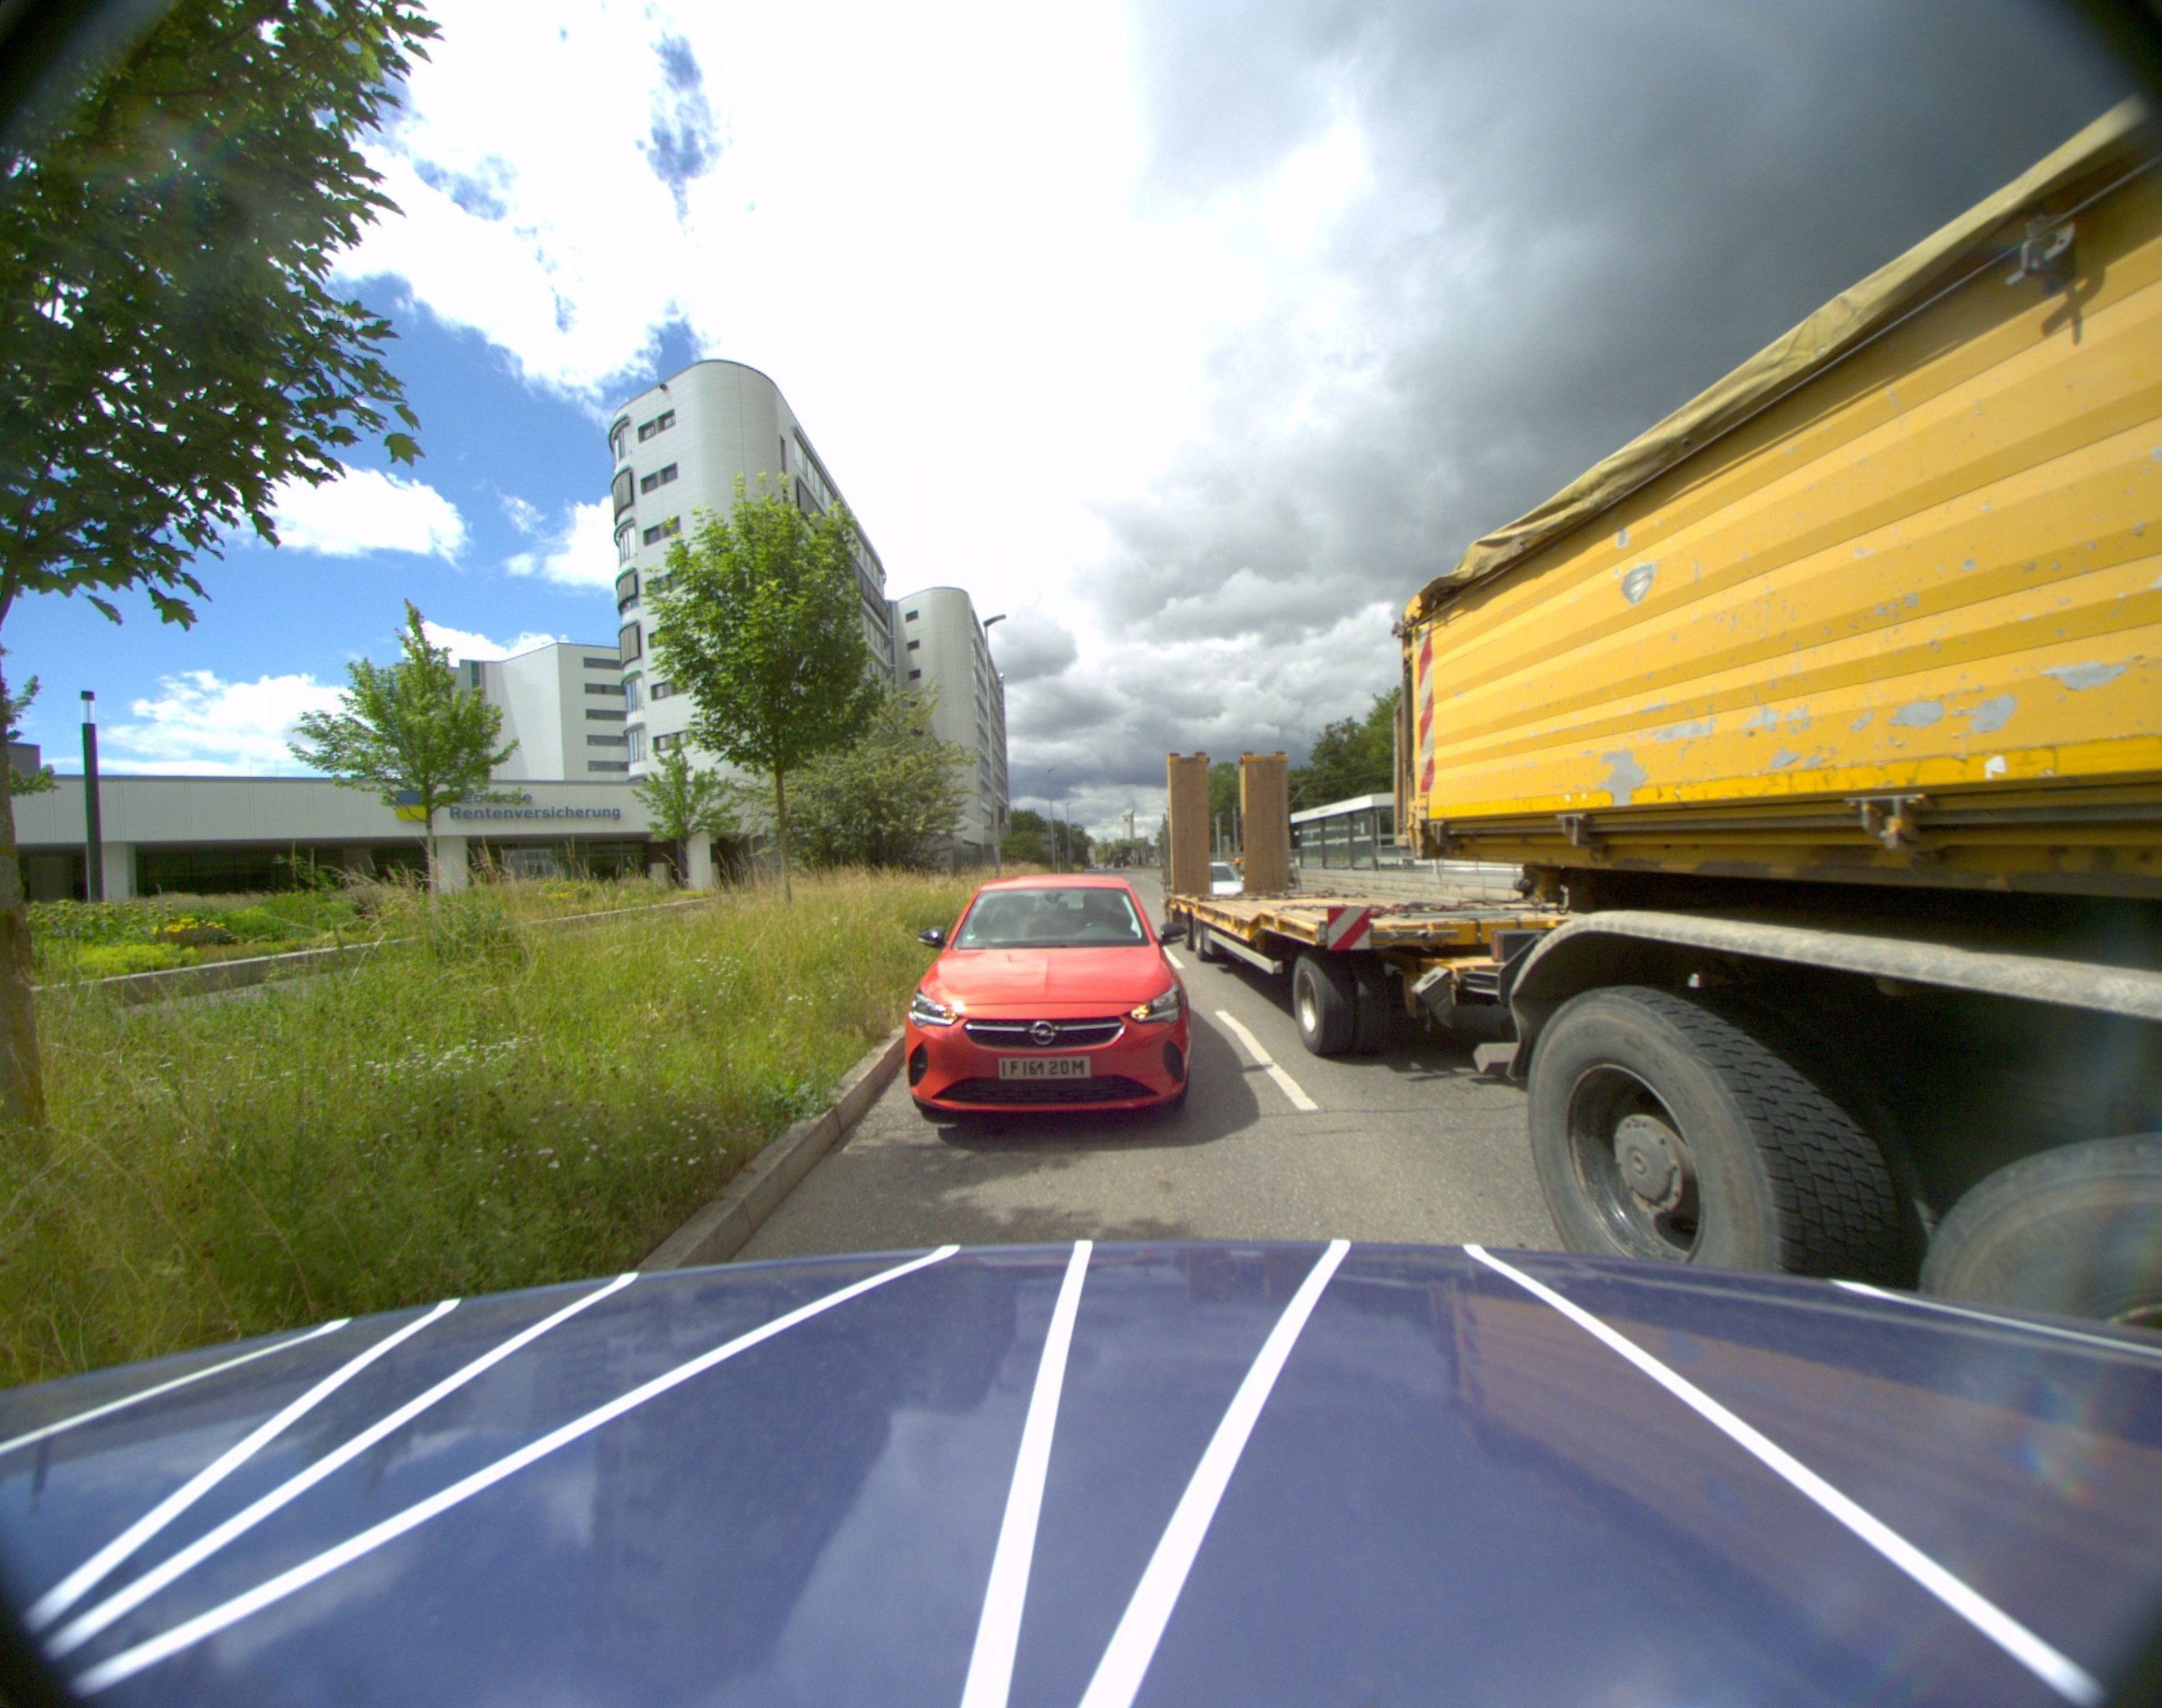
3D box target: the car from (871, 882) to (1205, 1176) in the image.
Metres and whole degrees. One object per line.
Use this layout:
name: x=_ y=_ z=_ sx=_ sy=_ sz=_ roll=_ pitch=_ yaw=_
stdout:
car: x=-0.197 y=0.996 z=5.855 sx=1.749 sy=1.408 sz=3.676 roll=-1 pitch=0 yaw=1

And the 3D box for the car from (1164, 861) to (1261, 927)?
car: x=3.181 y=0.920 z=19.022 sx=1.784 sy=1.408 sz=3.785 roll=-2 pitch=0 yaw=1

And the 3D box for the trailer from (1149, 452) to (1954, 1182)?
trailer: x=2.943 y=-0.167 z=9.425 sx=3.057 sy=3.676 sz=10.965 roll=-2 pitch=0 yaw=0

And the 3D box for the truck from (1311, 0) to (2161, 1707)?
truck: x=2.853 y=-0.053 z=0.124 sx=3.057 sy=3.374 sz=8.006 roll=-2 pitch=0 yaw=0
